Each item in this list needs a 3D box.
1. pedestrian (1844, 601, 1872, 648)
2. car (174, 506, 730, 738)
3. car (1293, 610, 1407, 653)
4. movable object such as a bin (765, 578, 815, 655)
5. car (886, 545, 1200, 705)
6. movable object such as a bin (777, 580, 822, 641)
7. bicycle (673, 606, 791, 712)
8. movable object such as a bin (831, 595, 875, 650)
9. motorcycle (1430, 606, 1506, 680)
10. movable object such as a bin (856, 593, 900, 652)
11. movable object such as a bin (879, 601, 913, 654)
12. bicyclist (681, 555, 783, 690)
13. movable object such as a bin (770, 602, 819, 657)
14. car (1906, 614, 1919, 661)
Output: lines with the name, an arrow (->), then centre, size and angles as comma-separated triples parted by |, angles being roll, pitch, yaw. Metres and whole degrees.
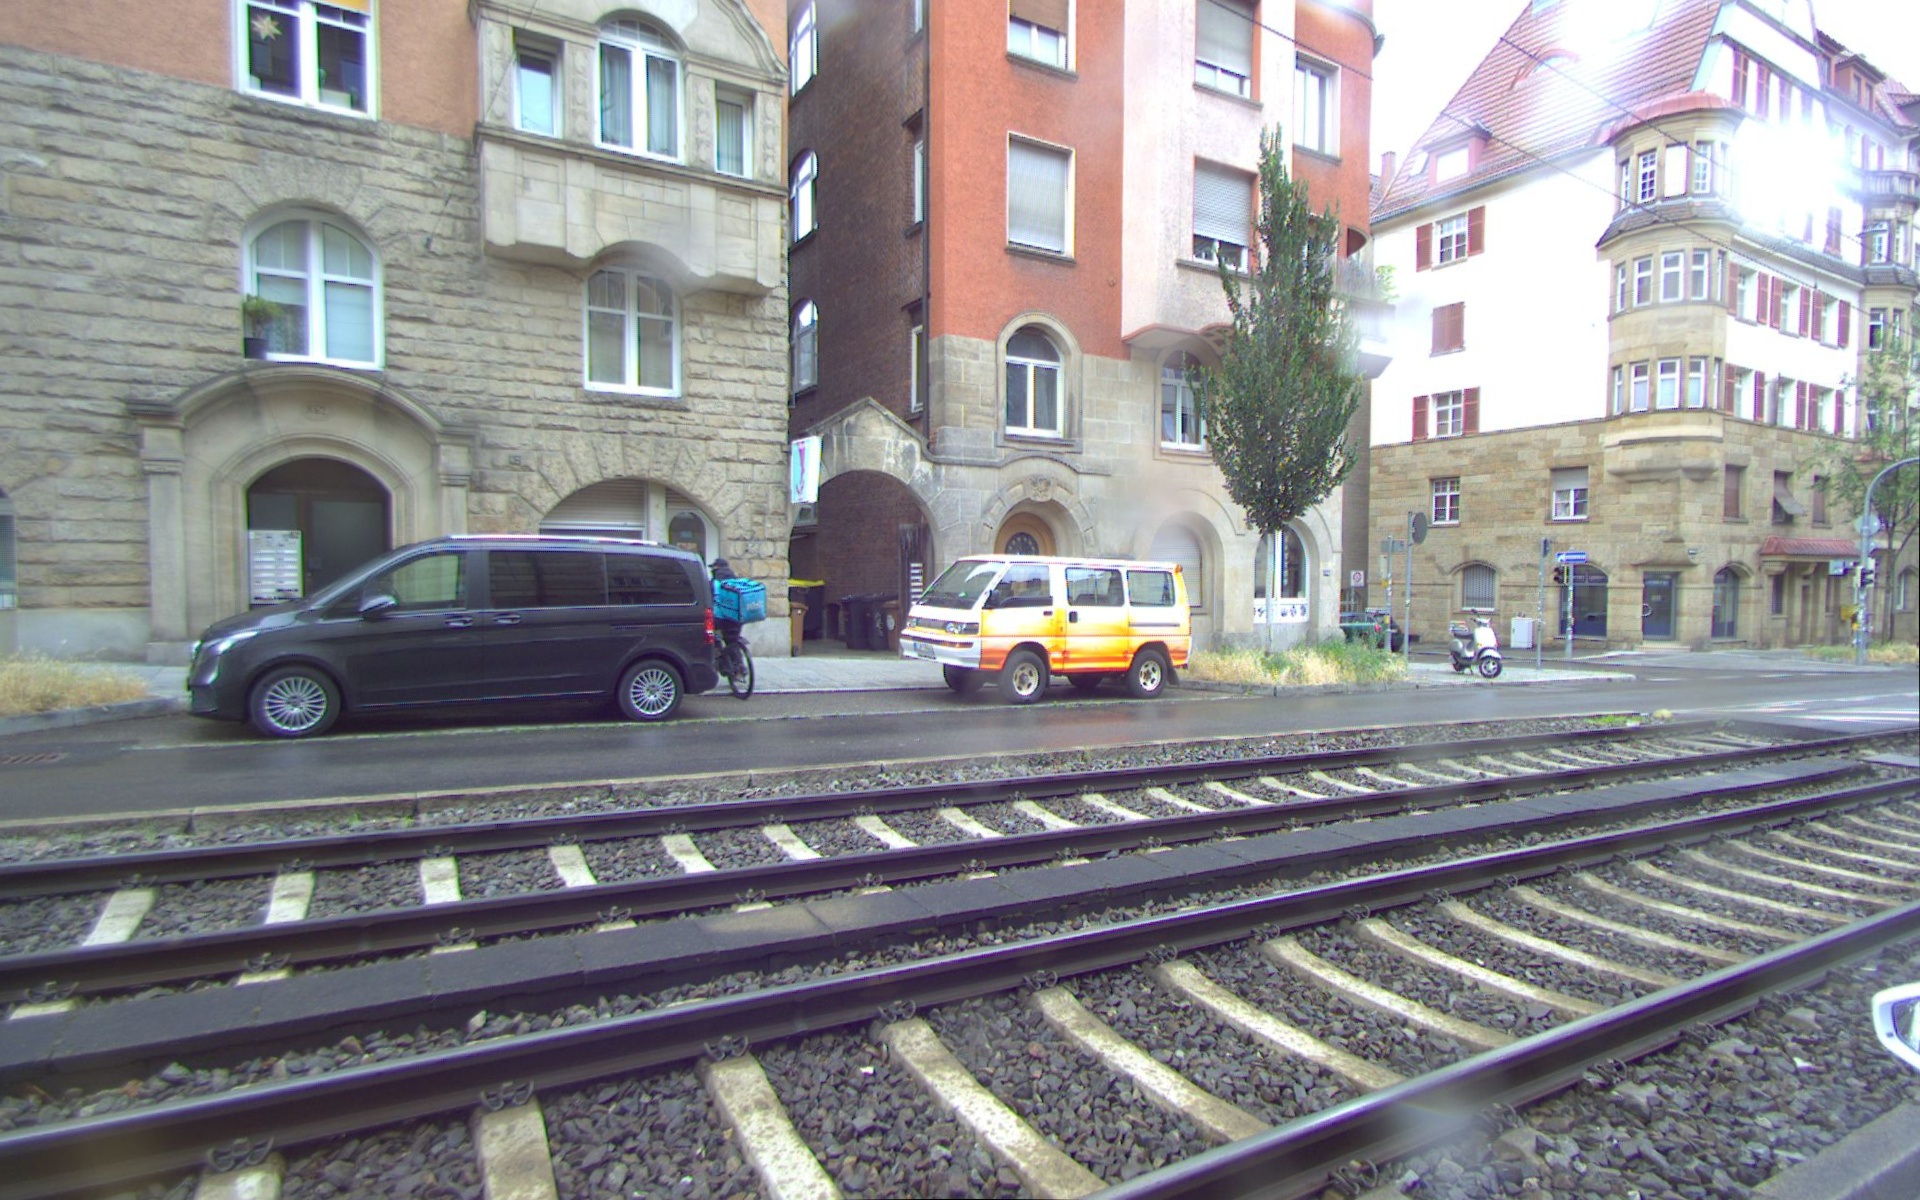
pedestrian -> 32.878, 0.893, 36.793 | 0.696, 1.695, 0.626 | 2, 0, -39
car -> -5.069, 0.244, 10.587 | 4.769, 1.968, 1.984 | 2, 0, -30
car -> 14.442, 1.145, 37.337 | 1.683, 1.423, 3.618 | 2, 0, -34
movable object such as a bin -> -3.125, 0.292, 18.456 | 0.648, 1.360, 0.903 | 1, 1, -27
car -> 1.257, 0.371, 14.432 | 4.295, 2.001, 1.721 | 2, 0, -32
movable object such as a bin -> -3.629, 0.227, 22.649 | 0.676, 1.324, 1.154 | 1, 1, -26
bicycle -> -2.951, 0.710, 12.860 | 0.817, 1.202, 2.019 | 2, 0, -33
movable object such as a bin -> -2.102, 0.436, 19.678 | 0.607, 1.052, 0.793 | 1, -1, -27
motorcycle -> 10.087, 0.827, 19.994 | 0.612, 1.384, 1.596 | 2, 0, -3
movable object such as a bin -> -1.564, 0.431, 19.132 | 0.607, 1.090, 0.679 | 1, -1, -27
movable object such as a bin -> -1.191, 0.507, 18.624 | 0.442, 0.957, 0.557 | 1, -1, -27
bicyclist -> -2.922, 0.271, 12.804 | 0.877, 1.618, 1.242 | 1, 0, -32
movable object such as a bin -> -2.910, 0.514, 17.583 | 0.627, 0.918, 0.793 | 1, 1, -27
car -> 34.149, 1.331, 34.348 | 3.994, 1.573, 1.741 | 2, 0, -34
